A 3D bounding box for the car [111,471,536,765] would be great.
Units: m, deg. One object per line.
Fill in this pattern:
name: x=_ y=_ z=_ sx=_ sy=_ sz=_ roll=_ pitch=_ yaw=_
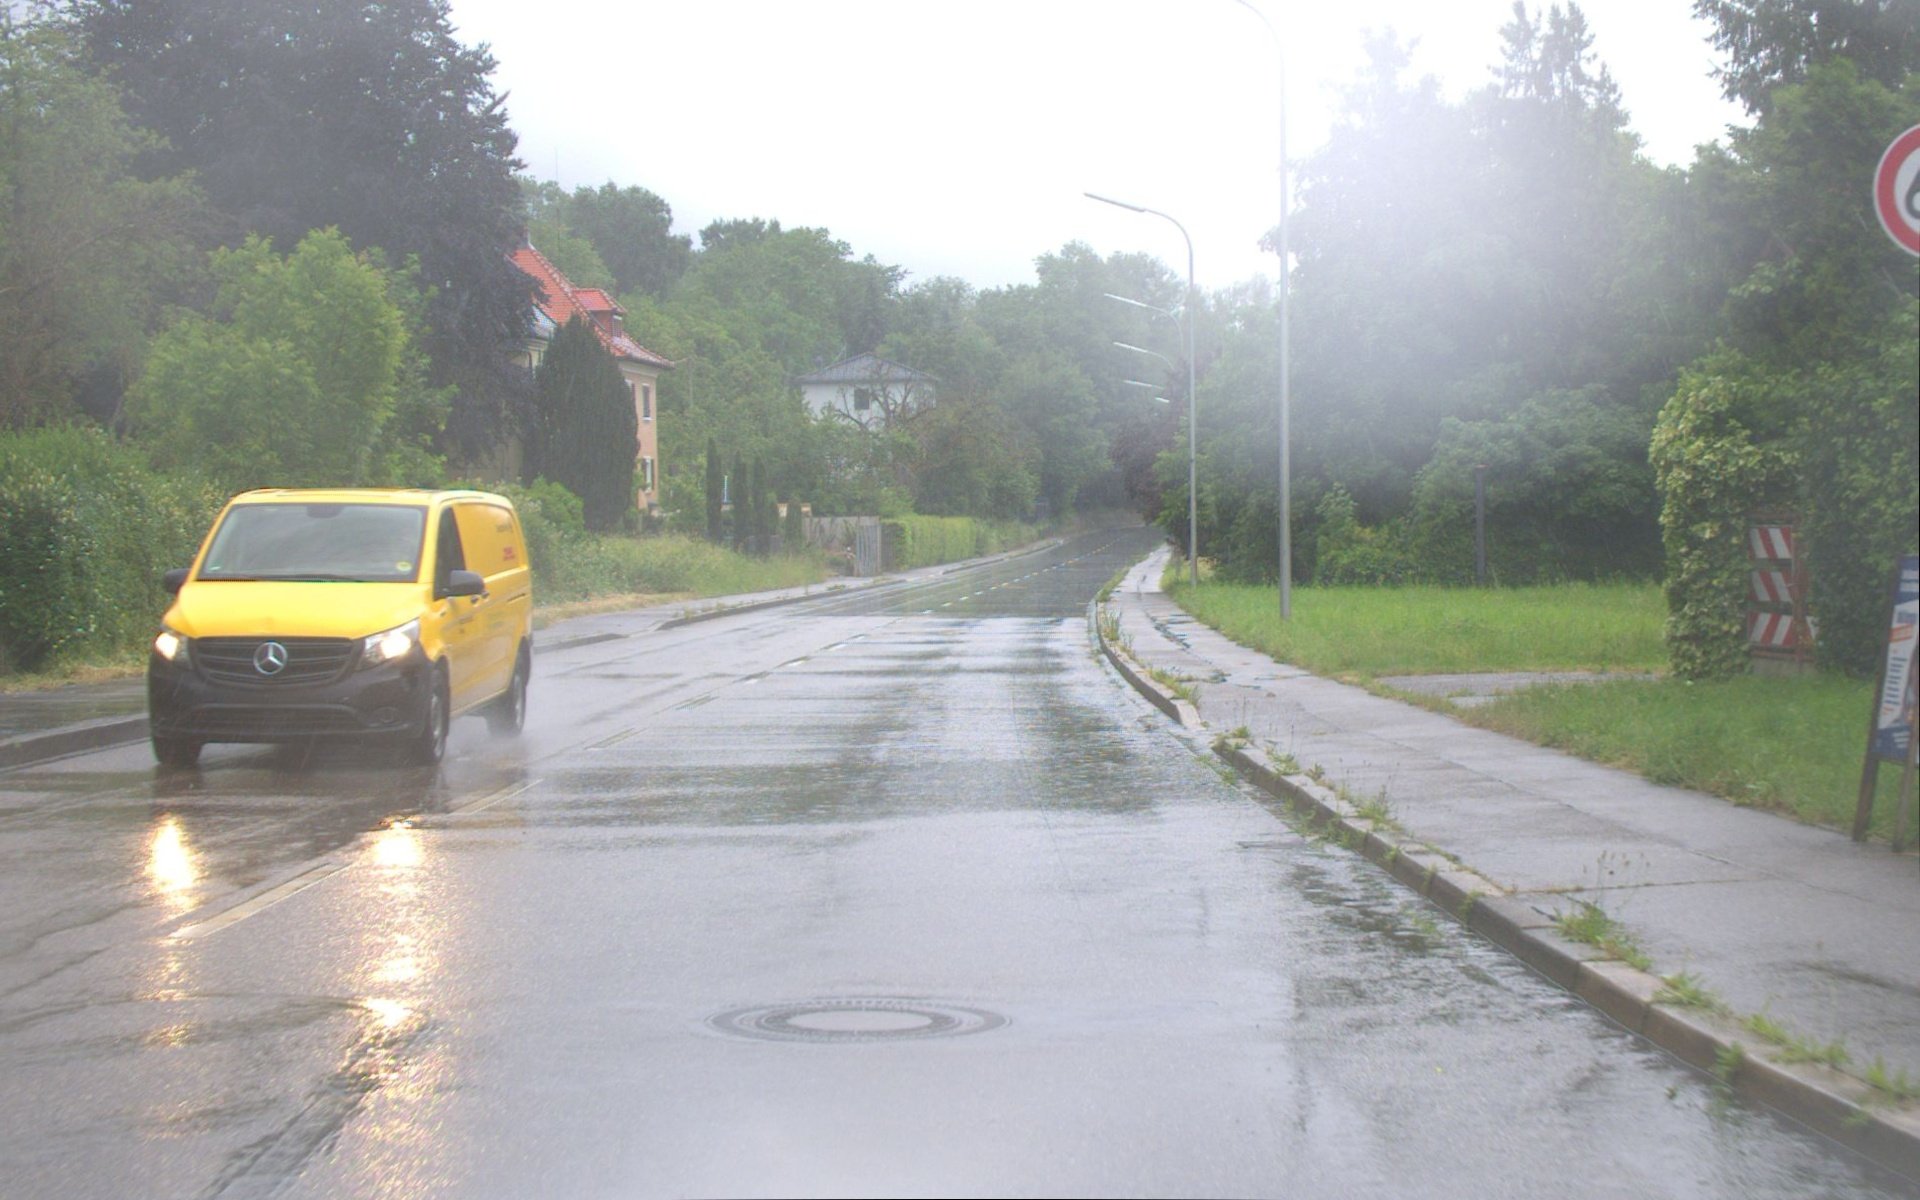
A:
car: x=-4.398 y=0.059 z=24.586 sx=1.937 sy=1.865 sz=5.036 roll=-1 pitch=1 yaw=2
